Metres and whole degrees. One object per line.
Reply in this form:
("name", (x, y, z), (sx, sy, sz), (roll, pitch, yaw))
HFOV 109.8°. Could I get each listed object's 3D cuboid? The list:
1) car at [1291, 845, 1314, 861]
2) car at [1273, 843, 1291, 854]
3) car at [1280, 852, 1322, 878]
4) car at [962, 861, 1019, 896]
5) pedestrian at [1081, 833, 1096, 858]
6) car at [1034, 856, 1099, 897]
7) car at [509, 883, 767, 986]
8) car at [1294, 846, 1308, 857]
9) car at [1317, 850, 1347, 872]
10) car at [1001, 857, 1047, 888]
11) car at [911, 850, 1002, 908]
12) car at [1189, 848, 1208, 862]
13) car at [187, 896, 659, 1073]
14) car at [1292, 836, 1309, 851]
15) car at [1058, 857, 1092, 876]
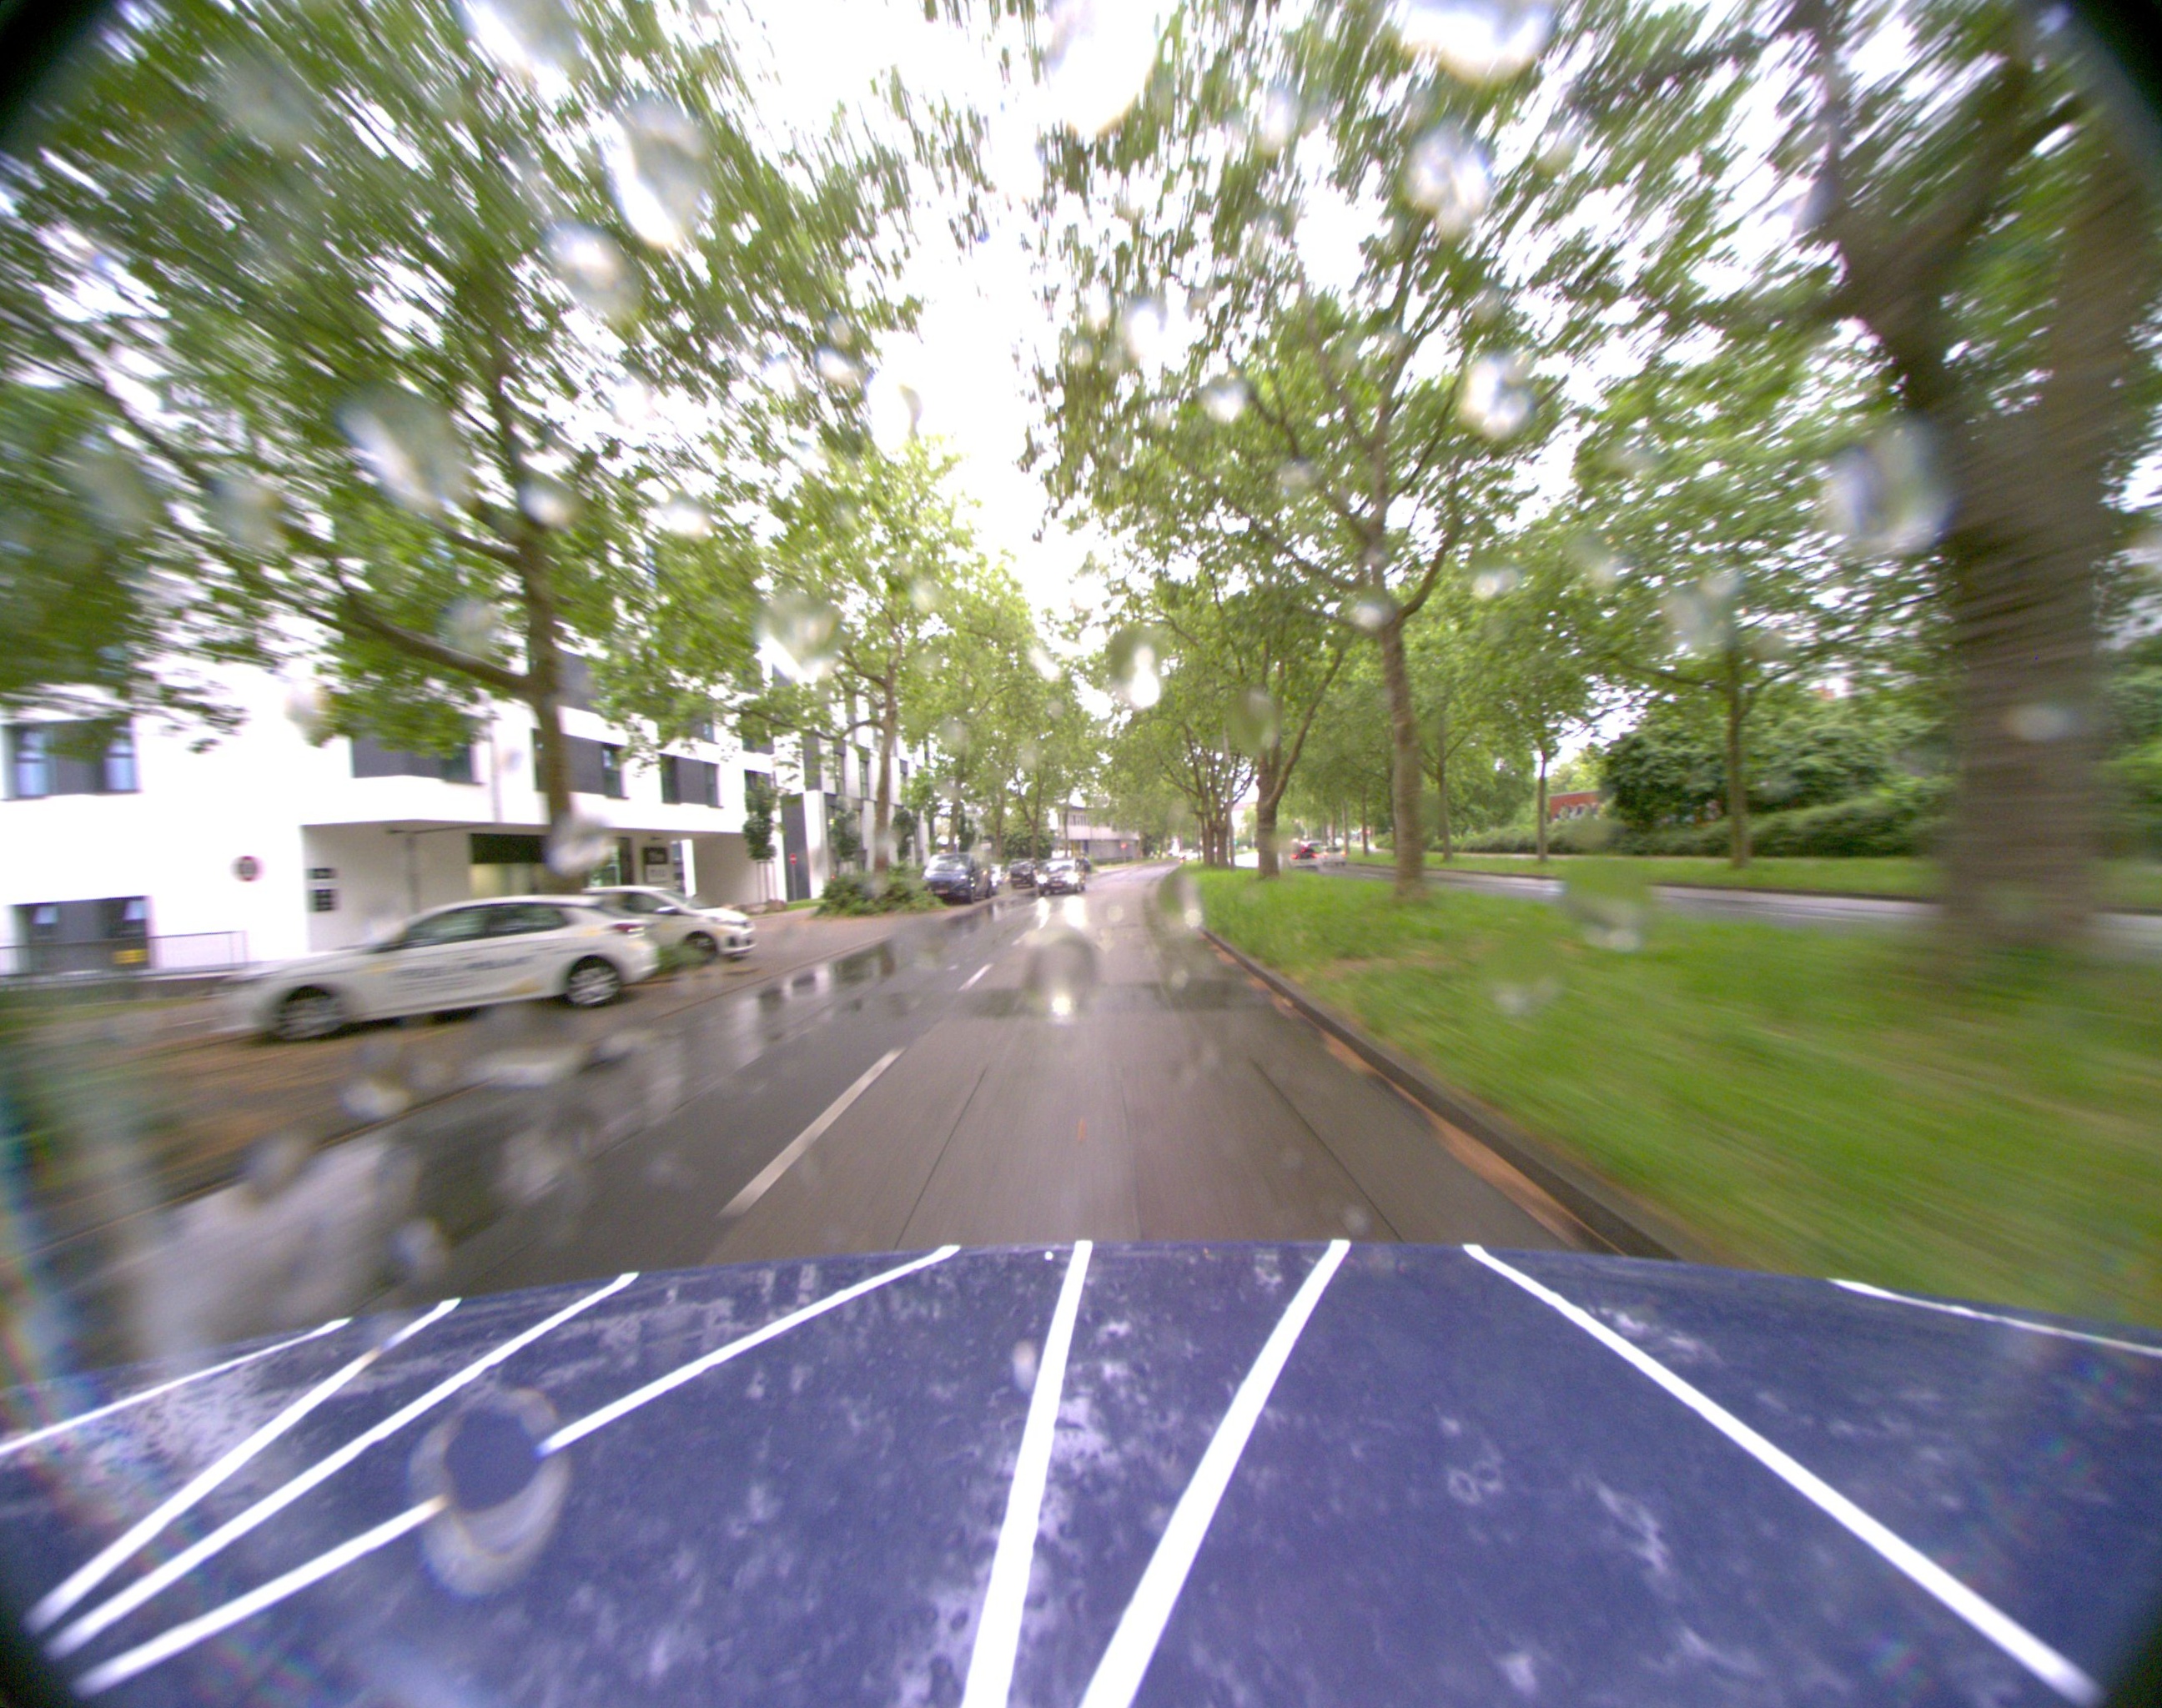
("car", (23.788, -0.107, 81.568), (1.745, 1.552, 4.374), (-3, 0, 23))
("car", (33.760, -0.949, 127.565), (2.032, 1.726, 4.961), (-3, 0, 24))
("car", (13.975, 0.656, 48.482), (1.747, 1.467, 4.411), (-3, 0, 6))
("car", (-4.342, 1.148, 37.183), (1.747, 1.460, 4.308), (-3, 0, 7))
("pedestrian", (0.607, -0.723, 64.287), (0.901, 2.002, 0.831), (-4, 1, -27))
("car", (-0.573, 1.007, 36.666), (1.997, 1.585, 5.593), (-4, 0, 10))
("car", (-7.864, 1.377, 13.846), (3.648, 1.495, 1.747), (-3, -1, -12))
("car", (37.257, -0.362, 128.720), (1.996, 1.622, 4.336), (-4, 0, 19))
("car", (18.569, 0.485, 56.334), (1.746, 1.451, 3.845), (-3, 0, 14))
("car", (-3.198, 1.024, 43.701), (1.747, 1.557, 4.373), (-3, 0, 7))
("car", (-4.909, 0.915, 30.999), (2.125, 2.016, 5.530), (-3, 0, 7))
("car", (15.824, 0.133, 102.374), (1.996, 1.620, 4.526), (-4, 0, 15))
("car", (-7.579, 1.409, 9.371), (4.043, 1.420, 1.745), (-3, 0, -28))
("car", (34.826, -1.701, 120.301), (2.032, 2.213, 5.441), (-3, 0, 21))
("car", (-0.463, 1.003, 63.214), (1.746, 1.420, 4.863), (-1, 1, 12))
